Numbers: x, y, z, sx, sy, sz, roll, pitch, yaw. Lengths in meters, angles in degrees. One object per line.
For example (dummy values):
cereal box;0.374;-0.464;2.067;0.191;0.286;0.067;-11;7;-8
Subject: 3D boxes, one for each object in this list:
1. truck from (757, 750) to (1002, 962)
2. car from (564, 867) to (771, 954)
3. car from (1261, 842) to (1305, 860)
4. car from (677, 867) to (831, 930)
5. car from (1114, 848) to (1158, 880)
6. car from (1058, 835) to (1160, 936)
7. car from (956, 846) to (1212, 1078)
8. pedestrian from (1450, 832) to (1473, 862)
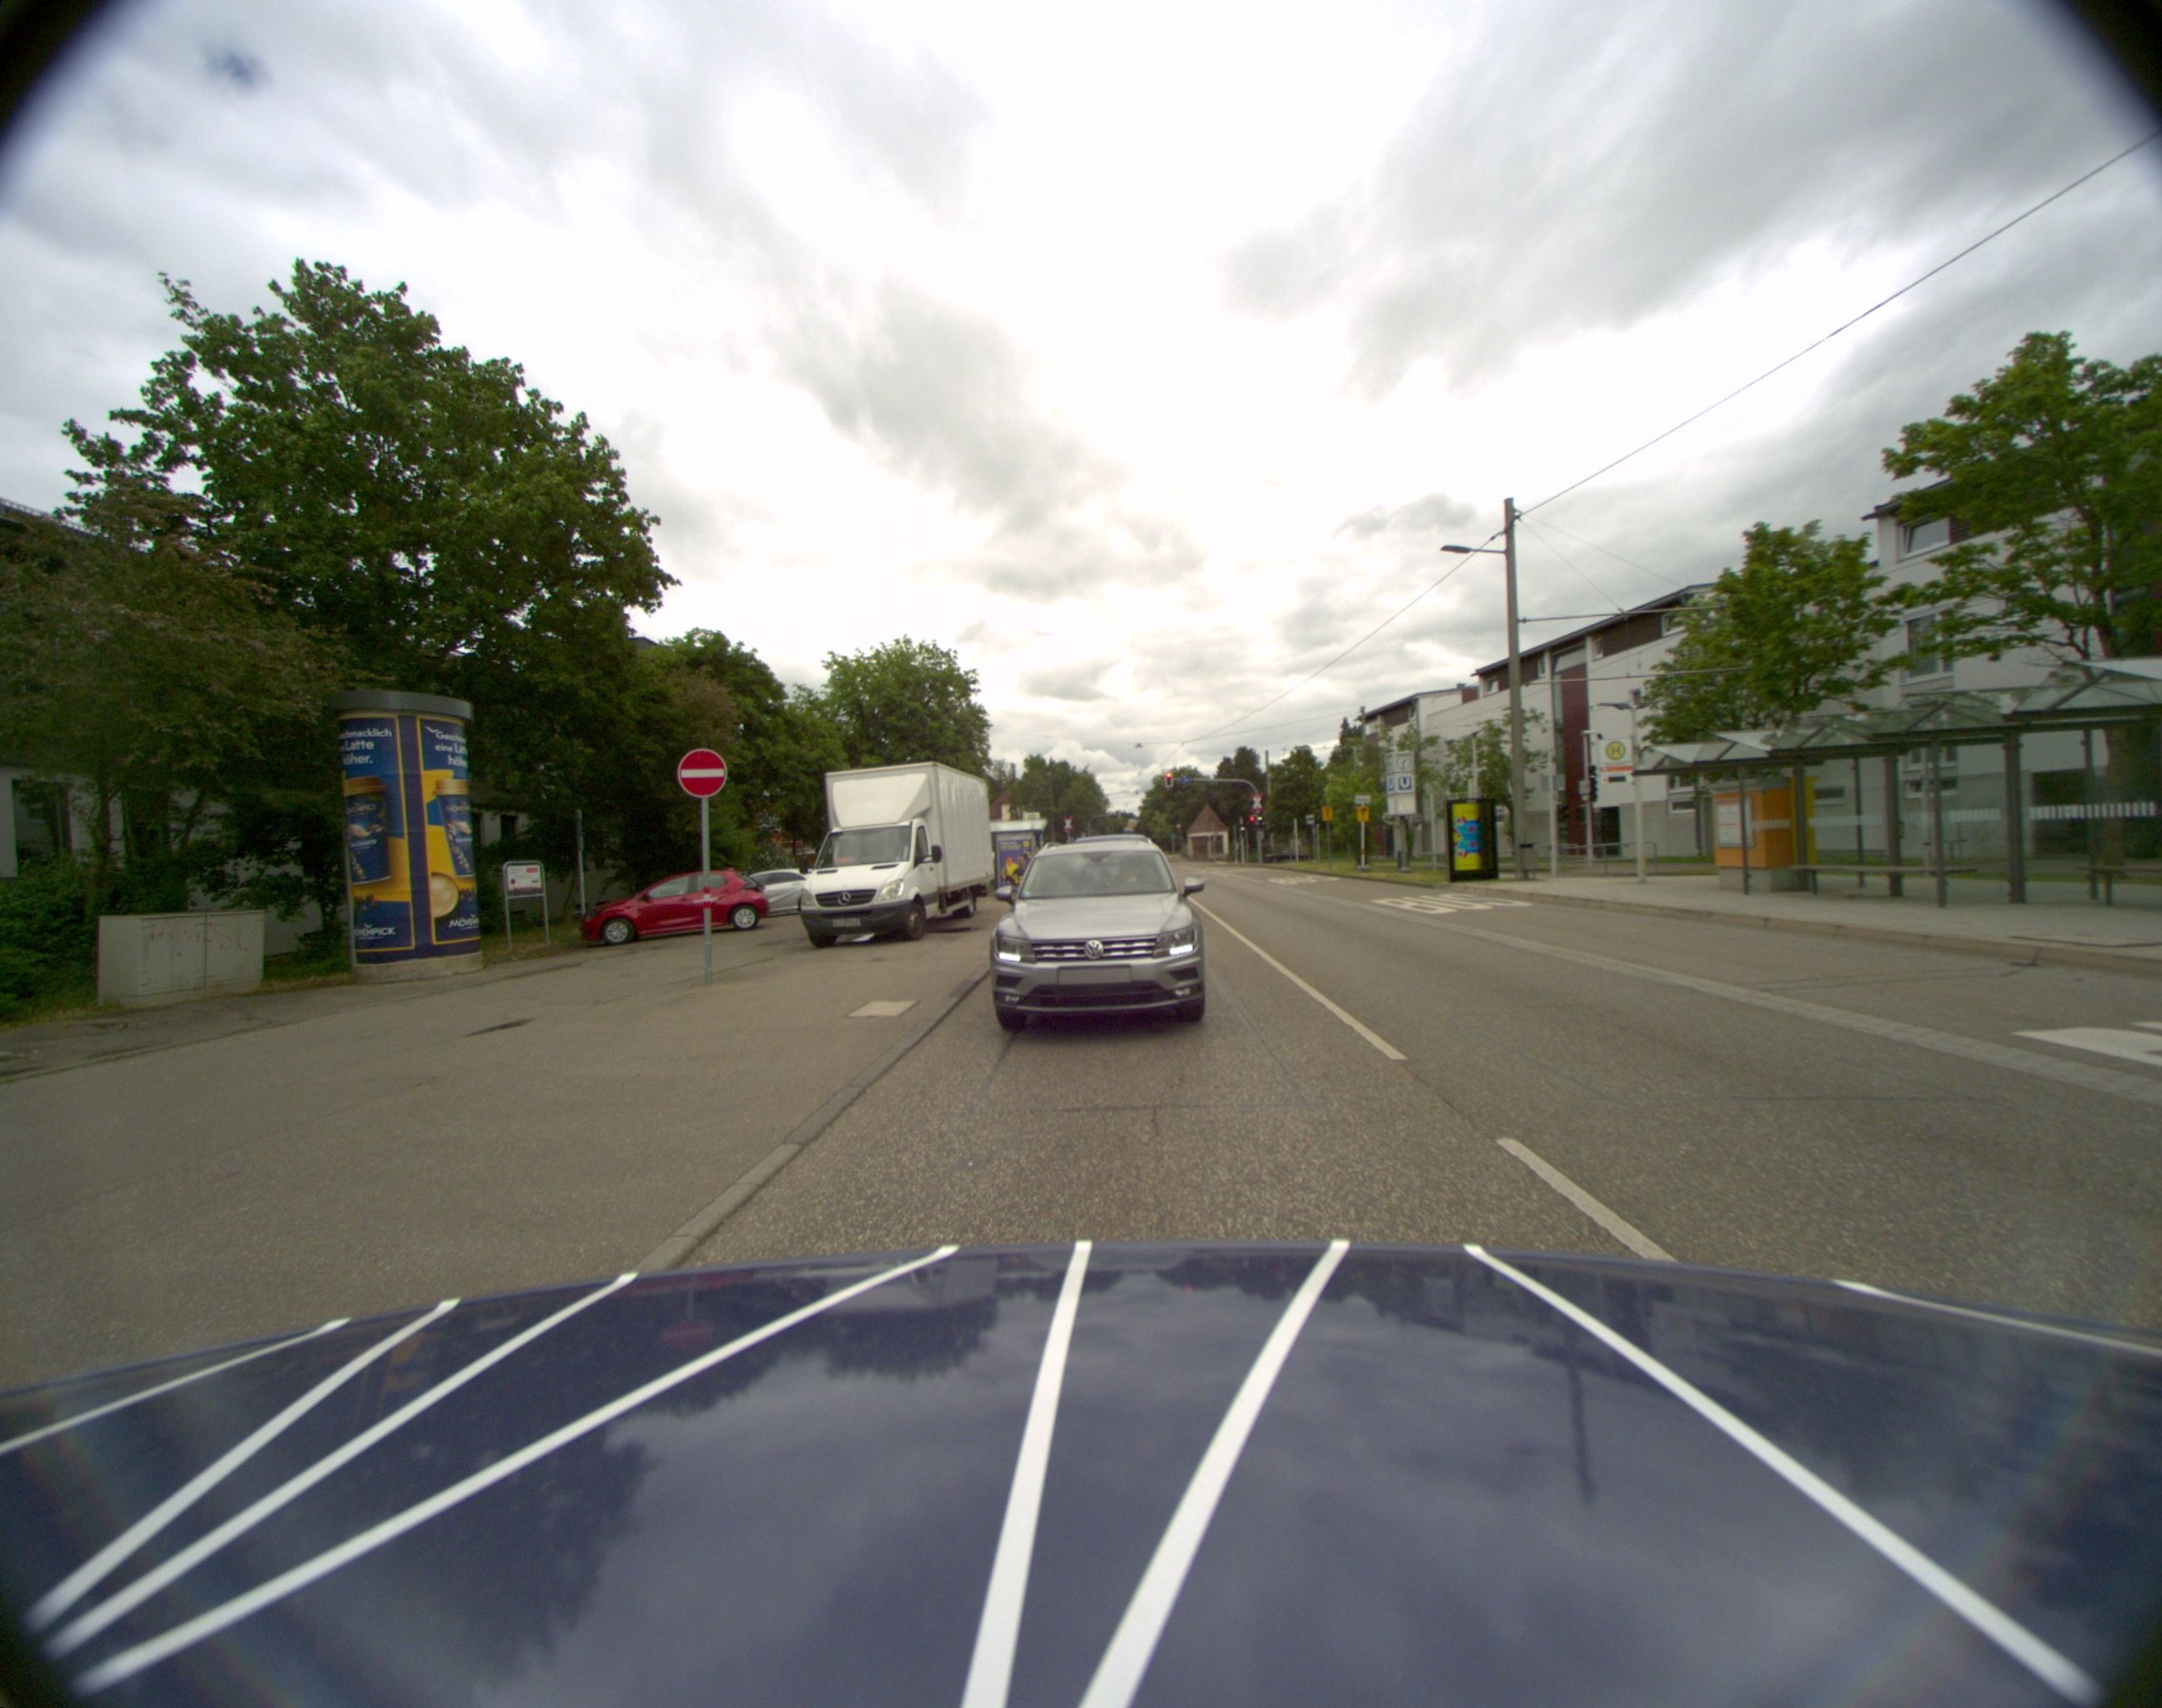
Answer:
truck;-3.770;-0.039;16.538;2.540;3.407;7.776;-3;1;4
car;-9.352;1.226;17.567;3.901;1.475;1.680;-5;2;-22
car;20.905;-0.340;78.724;3.997;1.696;1.928;-3;1;0
car;-9.778;1.270;22.766;4.005;1.402;1.521;-5;2;-29
car;2.771;0.483;39.223;1.850;1.525;3.999;-2;0;-1
car;0.654;0.575;16.482;1.849;1.850;4.000;-3;1;3
car;0.141;0.781;7.757;1.811;1.638;4.331;-3;1;3
pedestrian;21.021;-0.382;42.011;0.782;1.586;0.780;-3;1;-6
